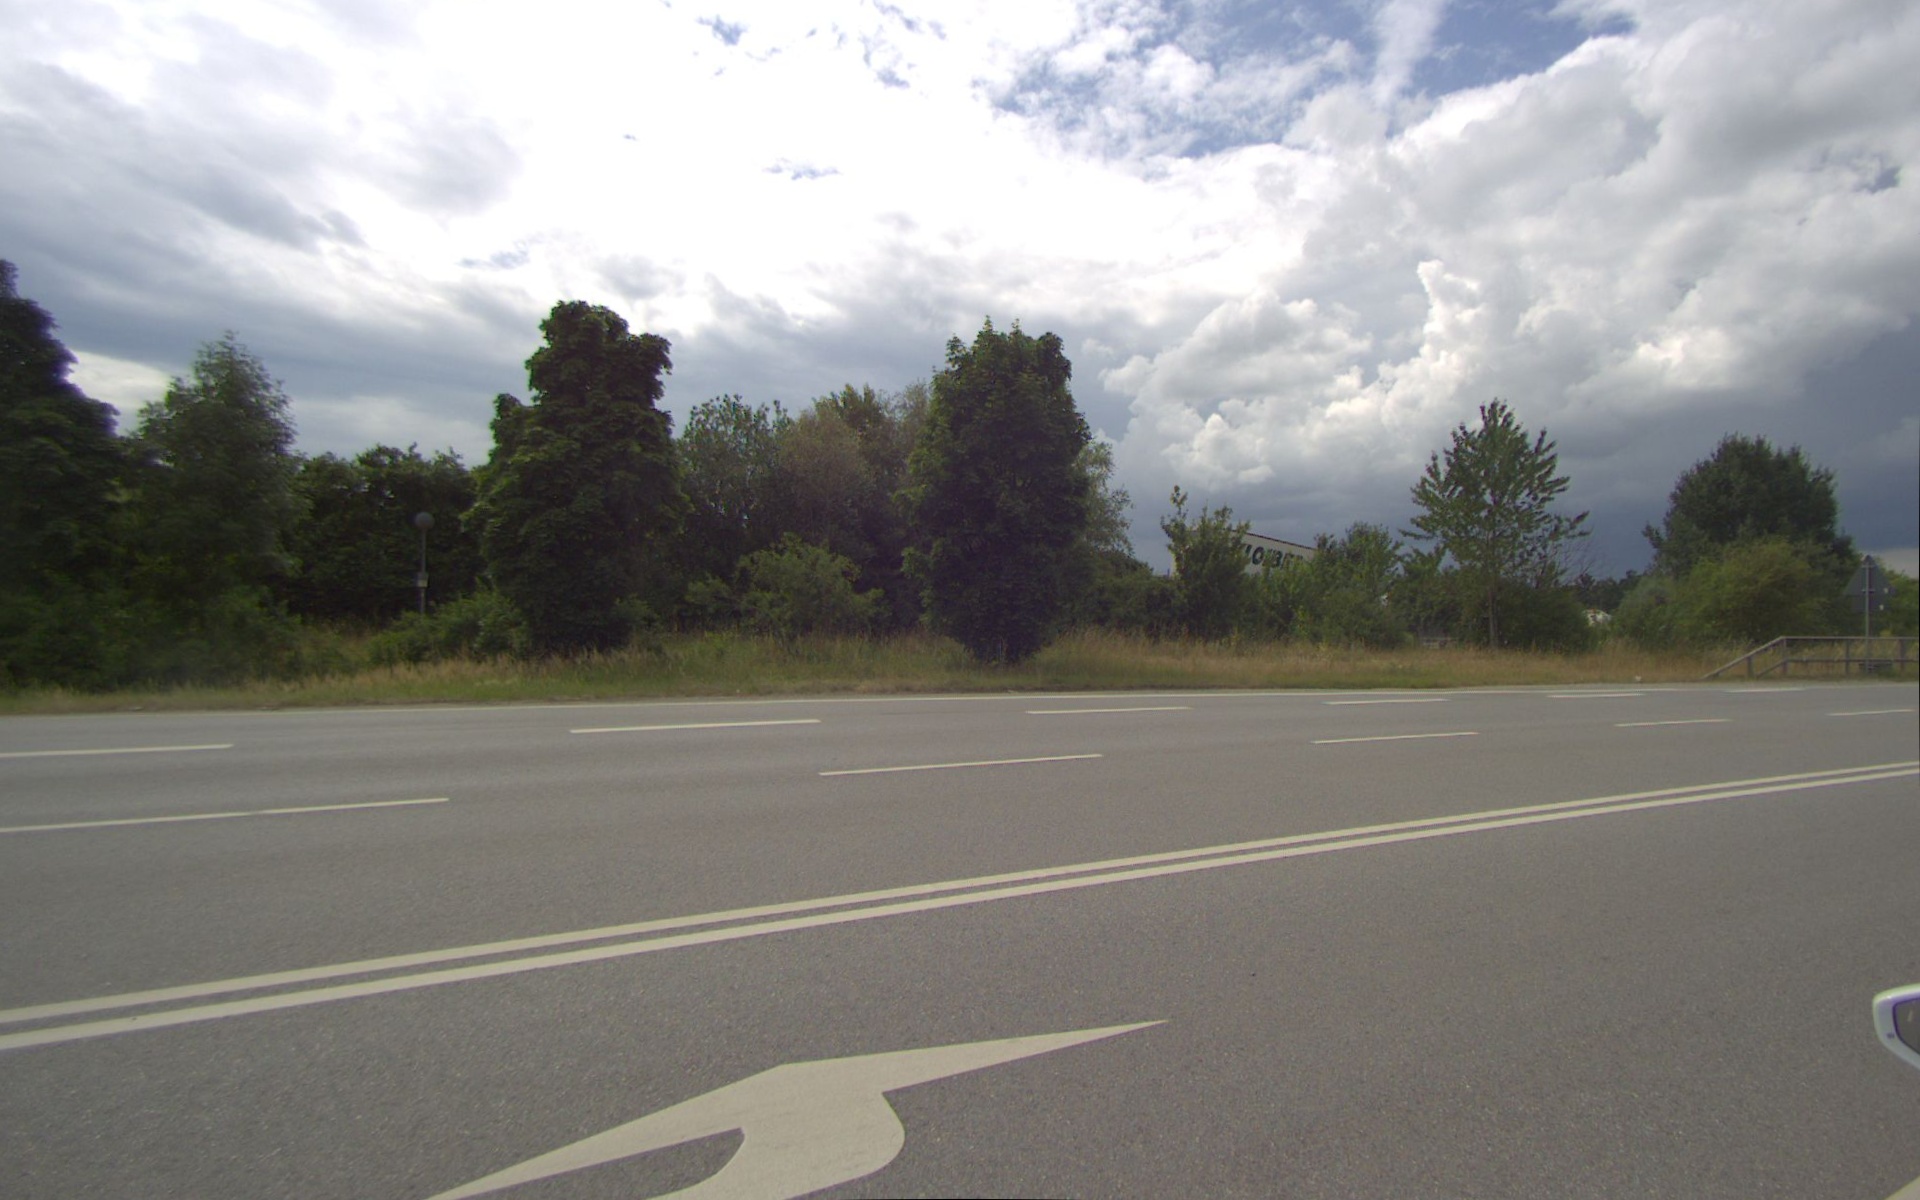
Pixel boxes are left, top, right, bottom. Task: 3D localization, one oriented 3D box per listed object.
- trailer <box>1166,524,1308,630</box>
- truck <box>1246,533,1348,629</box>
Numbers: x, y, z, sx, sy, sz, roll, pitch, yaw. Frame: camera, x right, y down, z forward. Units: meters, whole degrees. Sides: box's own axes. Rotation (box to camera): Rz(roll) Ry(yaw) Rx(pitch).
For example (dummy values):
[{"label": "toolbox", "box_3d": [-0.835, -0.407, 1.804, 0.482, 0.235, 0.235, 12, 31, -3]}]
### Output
[{"label": "trailer", "box_3d": [14.532, -1.044, 52.151, 8.920, 5.063, 2.772, 1, 0, -43]}, {"label": "truck", "box_3d": [18.978, -0.972, 56.326, 6.146, 5.063, 2.769, 1, 0, -43]}]
